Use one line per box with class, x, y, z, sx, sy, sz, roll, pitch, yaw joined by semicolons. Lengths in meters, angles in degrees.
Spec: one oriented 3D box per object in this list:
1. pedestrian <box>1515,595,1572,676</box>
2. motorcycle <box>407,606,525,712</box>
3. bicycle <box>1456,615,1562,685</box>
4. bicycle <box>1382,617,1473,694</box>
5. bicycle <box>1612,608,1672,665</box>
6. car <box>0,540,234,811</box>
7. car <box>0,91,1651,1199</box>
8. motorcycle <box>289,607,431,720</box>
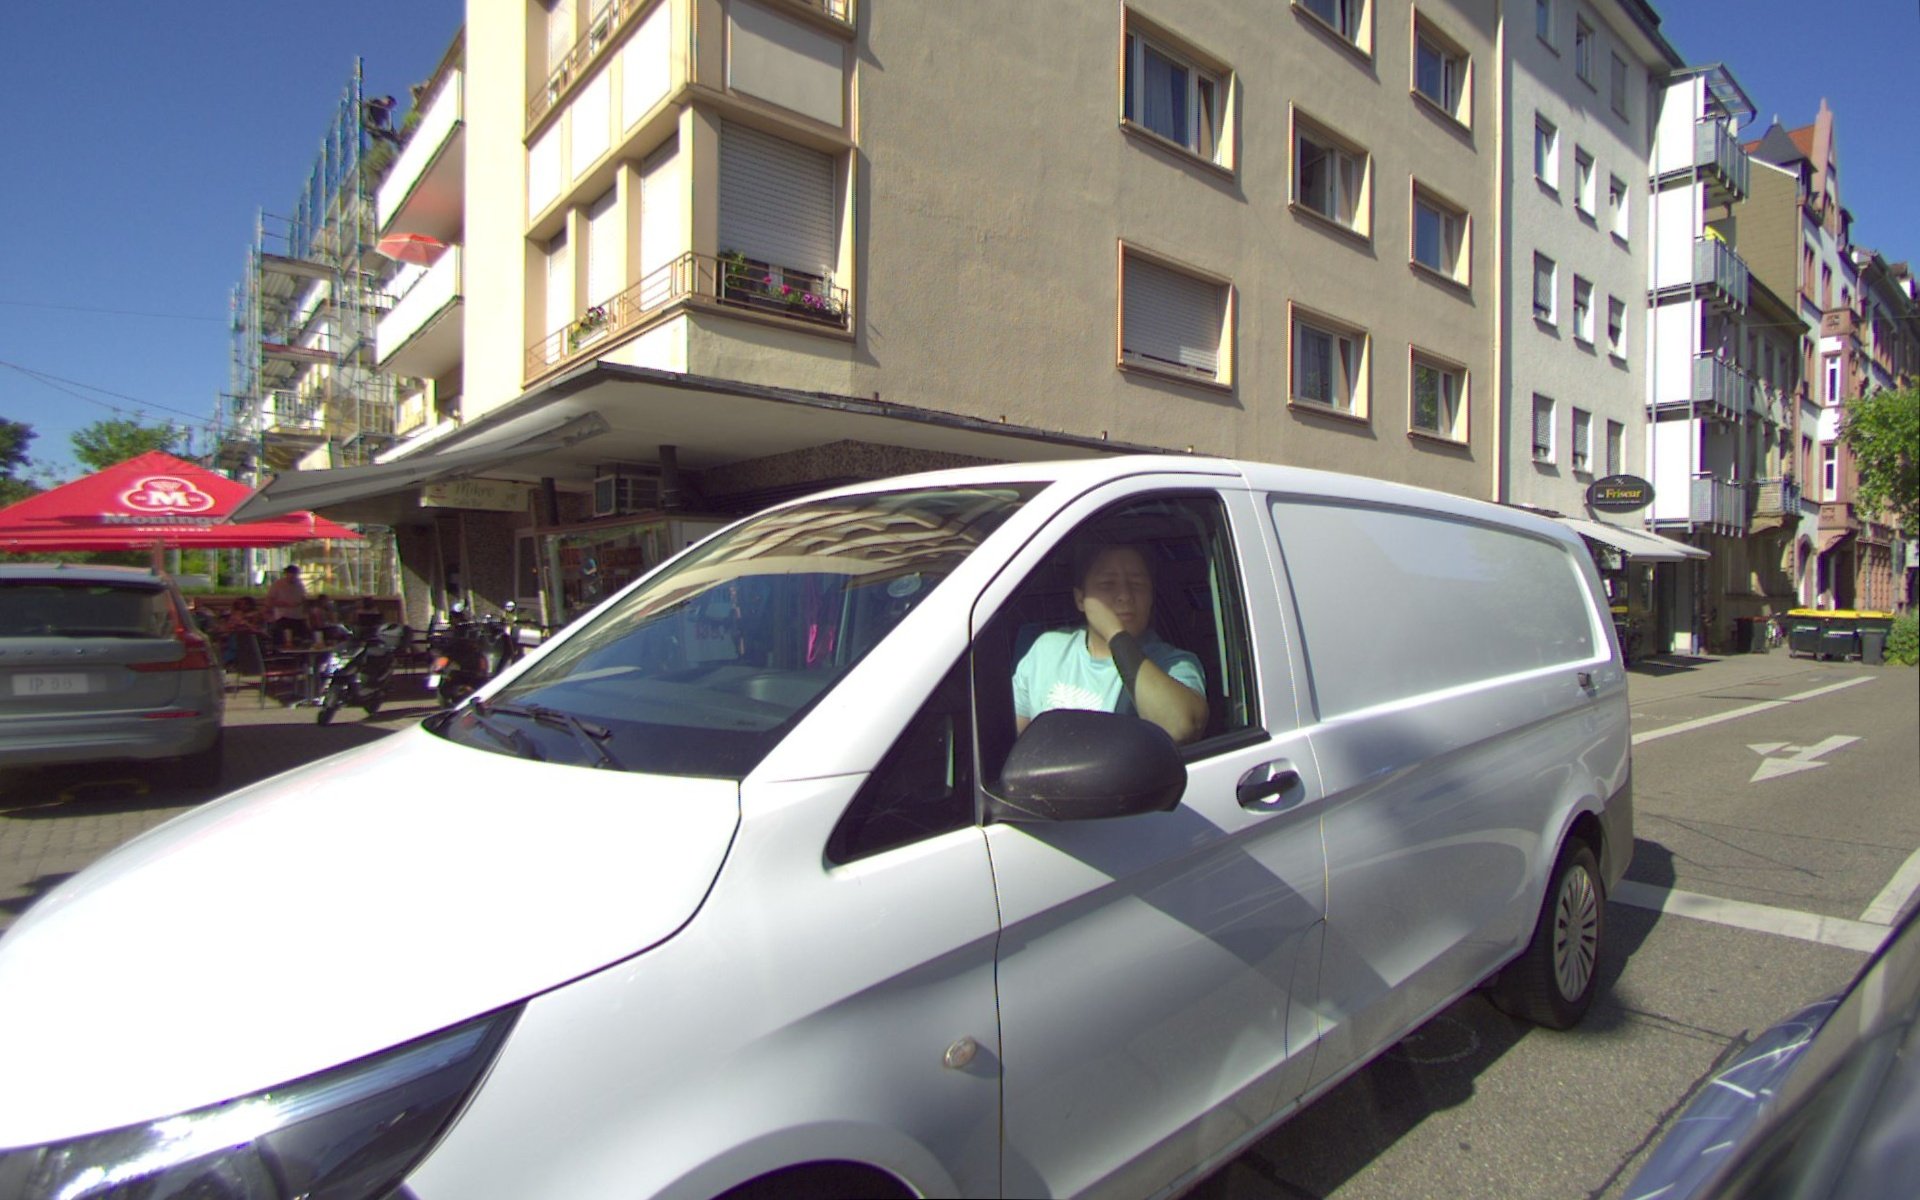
pedestrian;10.823;0.634;18.773;0.615;1.460;0.774;0;0;-45
motorcycle;-6.081;0.678;12.577;0.556;1.181;2.015;0;0;-3
bicycle;9.388;0.837;17.358;1.475;1.120;0.719;1;0;18
bicycle;7.244;0.832;15.653;1.766;1.098;0.408;0;3;-35
bicycle;15.072;0.781;22.338;1.742;1.157;0.598;0;3;-40
car;-7.011;0.447;8.019;1.793;1.683;3.995;0;1;-39
car;0.264;0.474;3.084;4.749;1.833;1.971;-1;1;-42
motorcycle;-6.975;0.690;11.884;0.556;1.181;2.015;0;0;-3
